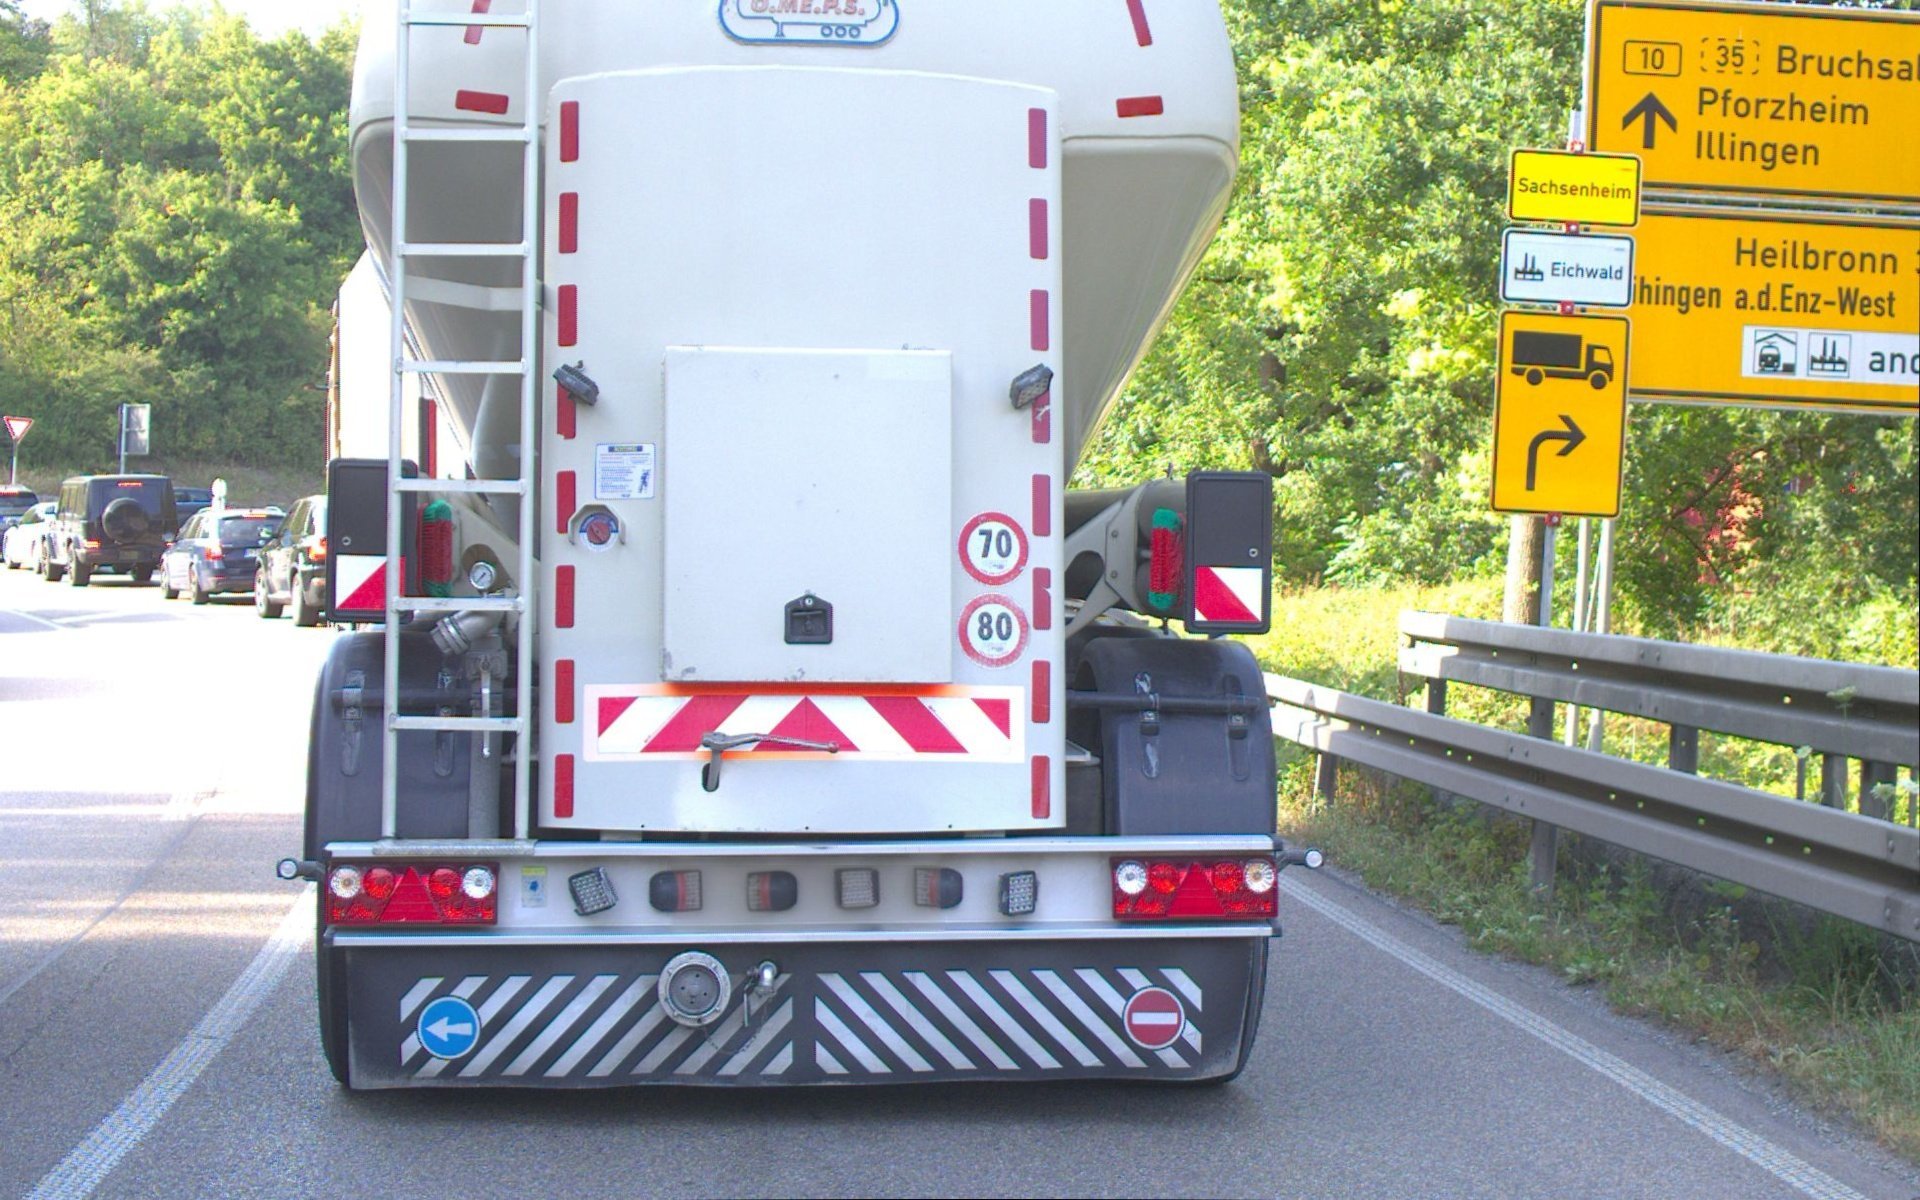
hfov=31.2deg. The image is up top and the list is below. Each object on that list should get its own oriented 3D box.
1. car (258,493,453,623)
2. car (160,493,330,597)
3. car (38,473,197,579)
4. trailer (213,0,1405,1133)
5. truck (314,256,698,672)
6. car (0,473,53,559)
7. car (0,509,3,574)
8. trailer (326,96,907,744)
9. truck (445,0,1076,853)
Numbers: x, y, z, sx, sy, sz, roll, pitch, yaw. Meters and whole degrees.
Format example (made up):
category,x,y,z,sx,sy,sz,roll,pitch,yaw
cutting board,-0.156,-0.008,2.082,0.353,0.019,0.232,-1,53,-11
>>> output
category,x,y,z,sx,sy,sz,roll,pitch,yaw
car,-8.087,-0.601,45.738,1.867,1.622,4.001,-1,2,-20
car,-11.193,-0.883,53.617,1.867,1.559,4.001,-1,2,-22
car,-15.295,-1.366,62.290,1.956,1.845,4.001,-1,2,-26
trailer,-0.726,-0.992,13.223,2.886,4.439,9.607,1,1,-5
truck,-5.138,-1.454,37.693,3.449,4.072,6.493,1,2,-13
car,-21.210,-1.859,75.297,1.867,1.845,4.001,-1,2,-25
car,-9.518,-0.072,30.421,1.867,1.551,4.001,2,1,-14
trailer,-3.591,-1.368,30.891,3.544,4.497,12.988,2,1,-13
truck,-1.256,-0.916,18.577,2.823,4.021,5.896,1,1,-7
